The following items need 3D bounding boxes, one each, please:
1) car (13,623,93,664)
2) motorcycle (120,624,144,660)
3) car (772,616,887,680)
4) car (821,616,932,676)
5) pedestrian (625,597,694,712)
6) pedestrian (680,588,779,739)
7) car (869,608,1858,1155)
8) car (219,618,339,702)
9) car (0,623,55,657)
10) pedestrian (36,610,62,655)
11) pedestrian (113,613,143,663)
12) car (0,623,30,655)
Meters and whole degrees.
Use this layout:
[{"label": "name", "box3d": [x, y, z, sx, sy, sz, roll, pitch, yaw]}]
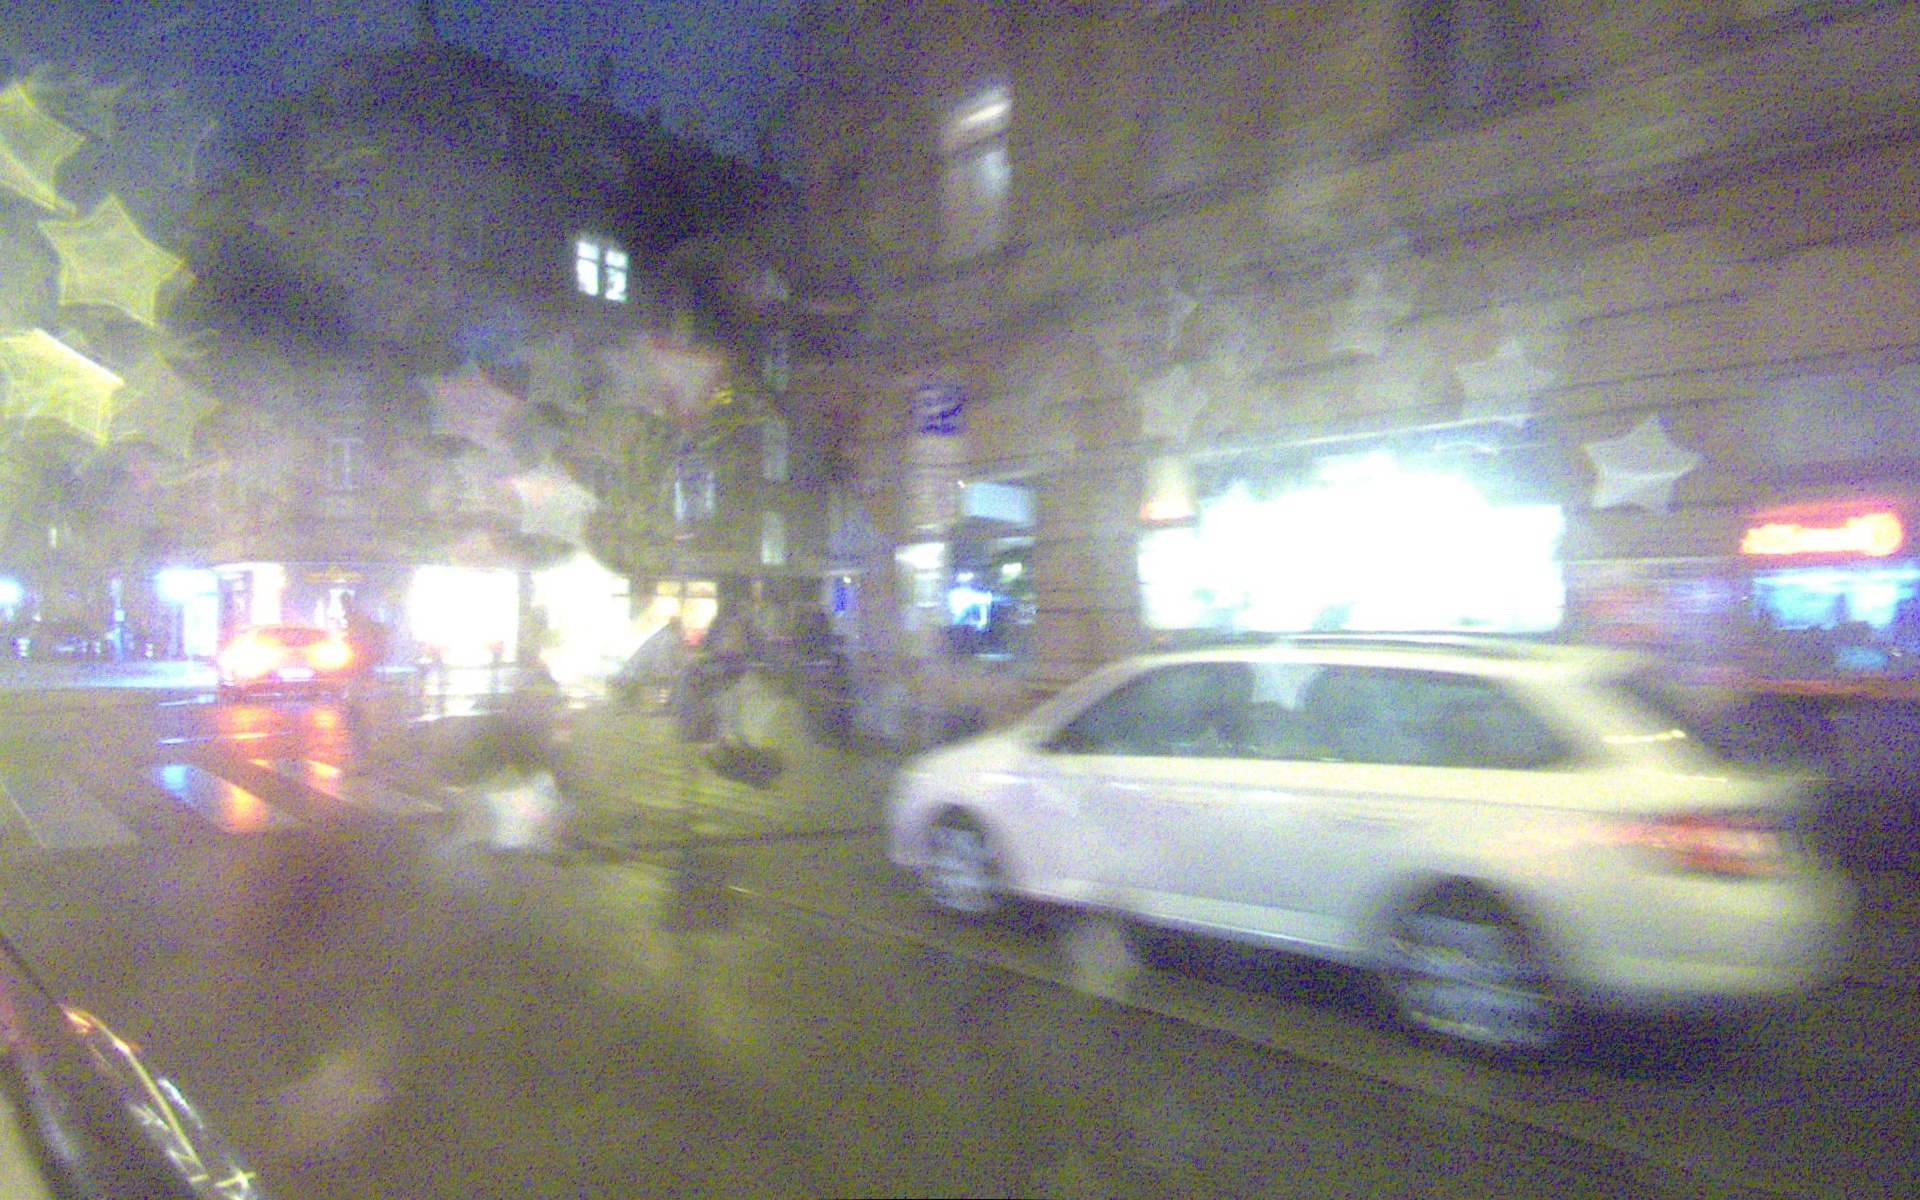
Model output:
[{"label": "car", "box3d": [-35.235, 1.628, 39.260, 5.030, 1.490, 1.827, -1, -2, 42]}, {"label": "motorcycle", "box3d": [-34.598, 1.741, 42.286, 1.457, 1.482, 0.531, -1, -1, 42]}, {"label": "car", "box3d": [-4.598, 1.617, 35.348, 1.970, 2.029, 4.003, -1, 0, -44]}, {"label": "car", "box3d": [-3.096, 1.631, 37.111, 1.970, 2.029, 4.003, -1, 0, -44]}, {"label": "pedestrian", "box3d": [-5.094, 0.916, 17.142, 0.786, 1.872, 0.948, 3, -4, -35]}, {"label": "pedestrian", "box3d": [-2.884, 0.752, 12.625, 0.794, 1.779, 1.017, -1, 0, -42]}, {"label": "car", "box3d": [1.529, 0.836, 4.780, 4.023, 1.474, 1.569, -2, 1, 43]}, {"label": "car", "box3d": [-13.323, 1.100, 19.698, 1.543, 1.438, 4.077, 3, -2, -39]}, {"label": "car", "box3d": [-43.220, 1.831, 46.596, 4.155, 1.490, 1.699, -1, -2, 39]}, {"label": "pedestrian", "box3d": [-46.495, 1.642, 51.650, 1.116, 2.258, 0.791, -2, -3, 41]}, {"label": "pedestrian", "box3d": [-30.151, 1.359, 36.686, 0.815, 1.784, 0.601, 0, -1, -36]}, {"label": "car", "box3d": [-47.213, 1.920, 49.976, 3.787, 1.489, 1.697, -1, -1, 44]}]
